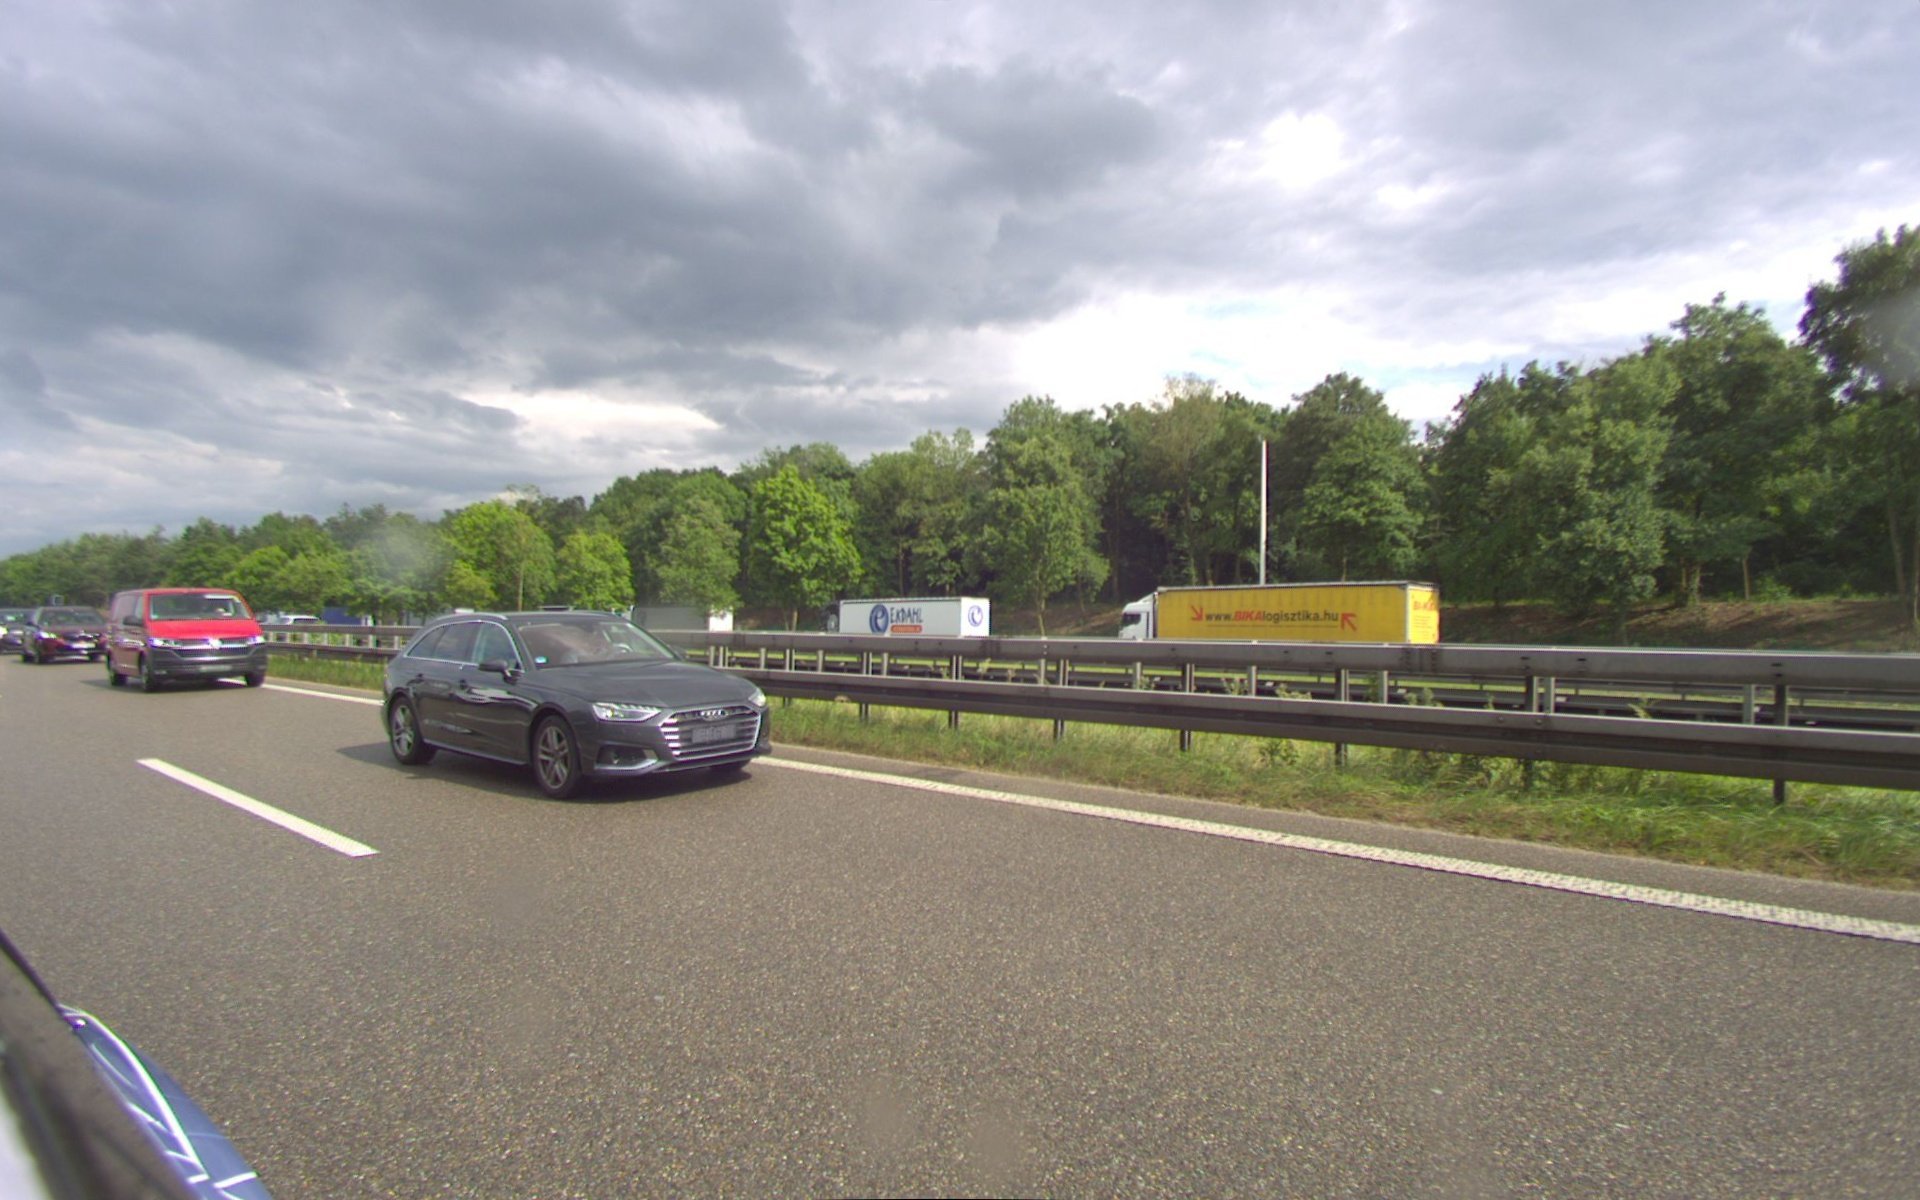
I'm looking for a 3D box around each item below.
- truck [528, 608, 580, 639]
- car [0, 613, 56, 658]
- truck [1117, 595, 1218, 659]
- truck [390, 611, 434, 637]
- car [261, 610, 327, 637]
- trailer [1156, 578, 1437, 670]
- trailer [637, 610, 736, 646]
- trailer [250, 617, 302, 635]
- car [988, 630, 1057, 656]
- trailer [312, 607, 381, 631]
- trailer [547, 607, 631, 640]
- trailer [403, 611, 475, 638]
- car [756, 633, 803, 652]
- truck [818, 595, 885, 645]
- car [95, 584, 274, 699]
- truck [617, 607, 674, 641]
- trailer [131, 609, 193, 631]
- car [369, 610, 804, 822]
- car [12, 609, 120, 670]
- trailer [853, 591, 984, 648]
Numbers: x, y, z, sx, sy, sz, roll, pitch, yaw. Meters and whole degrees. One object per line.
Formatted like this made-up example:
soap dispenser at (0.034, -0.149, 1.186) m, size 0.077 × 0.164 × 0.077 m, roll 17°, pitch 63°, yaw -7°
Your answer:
truck at (-45.004, 2.566, 112.168) m, size 6.532 × 3.275 × 2.548 m, roll 0°, pitch -2°, yaw 41°
car at (-34.765, 1.262, 37.151) m, size 4.051 × 1.578 × 1.871 m, roll -1°, pitch -1°, yaw 41°
truck at (10.729, 1.328, 52.664) m, size 1.950 × 3.121 × 5.087 m, roll -1°, pitch 0°, yaw -37°
truck at (-72.445, 3.163, 133.756) m, size 5.385 × 3.280 × 3.142 m, roll 0°, pitch -3°, yaw 39°
car at (-34.871, 1.192, 52.934) m, size 4.409 × 1.347 × 1.783 m, roll 0°, pitch 0°, yaw 42°
trailer at (14.962, 0.999, 47.013) m, size 1.967 × 3.722 × 13.689 m, roll 0°, pitch 0°, yaw -37°
trailer at (-25.764, 2.575, 94.856) m, size 12.174 × 3.217 × 2.986 m, roll -1°, pitch -2°, yaw 43°
trailer at (-104.315, 3.921, 154.329) m, size 9.839 × 2.594 × 2.511 m, roll 0°, pitch -1°, yaw 30°
car at (3.759, 2.602, 61.401) m, size 1.871 × 1.514 × 4.005 m, roll 2°, pitch -2°, yaw -41°
trailer at (-86.875, 2.706, 143.194) m, size 13.376 × 3.296 × 3.050 m, roll -1°, pitch -2°, yaw 34°
trailer at (-39.500, 2.497, 107.419) m, size 12.641 × 3.296 × 2.577 m, roll -1°, pitch -2°, yaw 41°
trailer at (-66.469, 3.120, 128.970) m, size 12.632 × 3.296 × 3.153 m, roll -1°, pitch -2°, yaw 39°
car at (-15.015, 3.477, 84.019) m, size 1.873 × 1.514 × 4.002 m, roll 2°, pitch -2°, yaw -45°
truck at (-8.165, 1.498, 75.952) m, size 2.136 × 3.648 × 5.585 m, roll 2°, pitch -2°, yaw -41°
car at (-15.324, 0.752, 19.904) m, size 4.747 × 2.000 × 1.871 m, roll -1°, pitch -1°, yaw 41°
truck at (-31.031, 2.392, 99.770) m, size 5.597 × 3.208 × 3.009 m, roll -1°, pitch -2°, yaw 43°
trailer at (-132.558, 3.294, 168.012) m, size 13.353 × 3.539 × 2.681 m, roll 0°, pitch -2°, yaw 27°
car at (-3.497, 0.816, 8.995) m, size 4.465 × 1.422 × 1.701 m, roll -1°, pitch -1°, yaw 41°
car at (-26.644, 1.116, 30.119) m, size 4.292 × 1.682 × 1.871 m, roll -1°, pitch -1°, yaw 41°
trailer at (-3.116, 1.368, 70.271) m, size 2.156 × 3.627 × 11.735 m, roll 2°, pitch -2°, yaw -41°
